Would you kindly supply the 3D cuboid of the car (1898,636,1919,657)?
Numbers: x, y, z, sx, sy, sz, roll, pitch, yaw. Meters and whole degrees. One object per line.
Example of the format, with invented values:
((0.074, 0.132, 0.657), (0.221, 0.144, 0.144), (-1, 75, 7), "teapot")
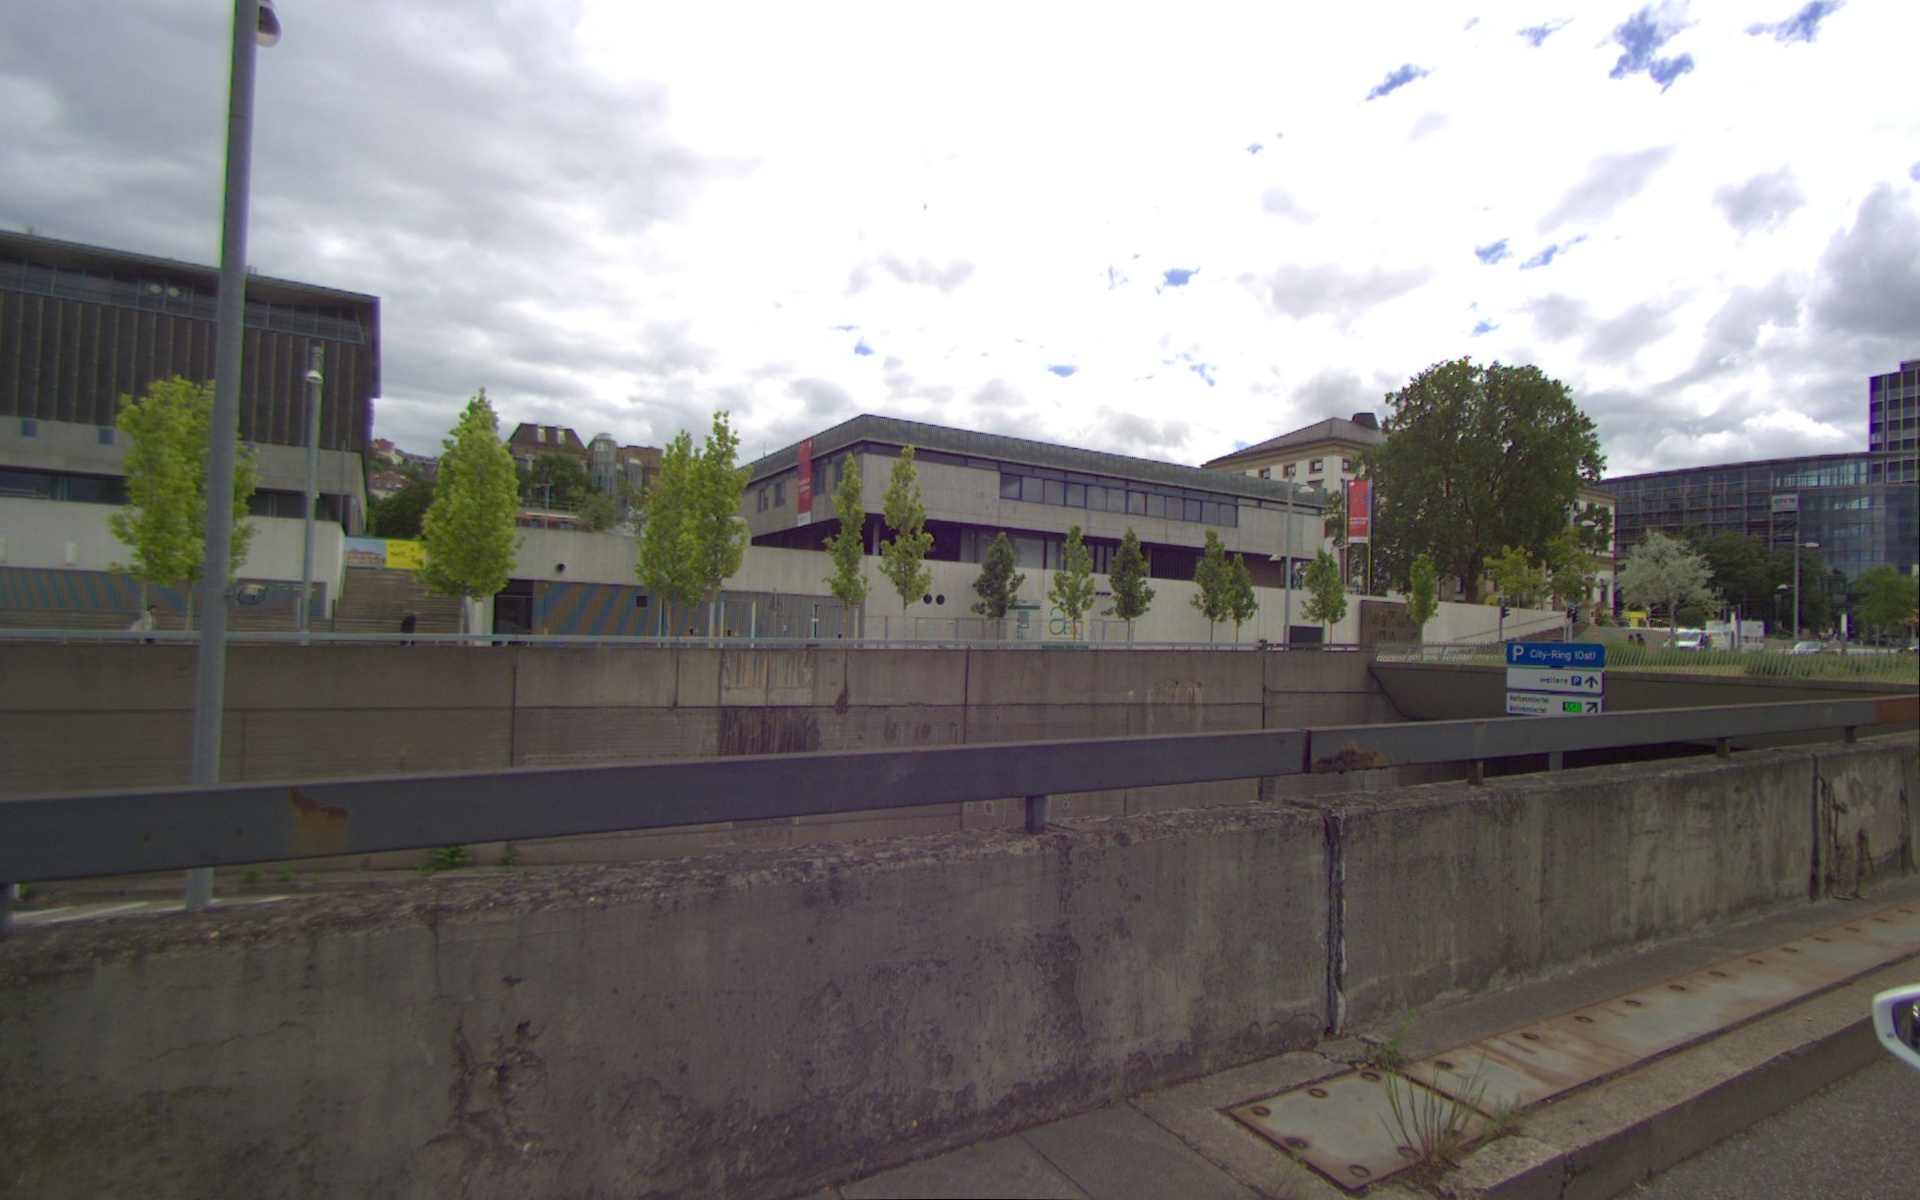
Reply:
((72.160, 3.557, 75.376), (3.556, 1.514, 1.723), (3, 0, -32), "car")

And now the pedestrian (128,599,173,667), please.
((-24.579, 0.995, 30.495), (0.778, 2.040, 0.740), (0, -1, -7), "pedestrian")

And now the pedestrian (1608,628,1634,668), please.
((33.845, 2.439, 51.467), (0.820, 2.040, 0.793), (0, -1, 4), "pedestrian")

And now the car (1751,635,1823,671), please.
((51.417, 3.240, 62.438), (4.635, 2.040, 1.985), (0, 0, -30), "car")

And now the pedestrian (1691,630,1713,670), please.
((38.877, 2.621, 52.612), (0.623, 2.041, 0.724), (-4, 2, -37), "pedestrian")

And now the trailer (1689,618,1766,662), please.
((49.623, 2.558, 64.919), (5.443, 2.640, 2.028), (1, 1, -30), "trailer")

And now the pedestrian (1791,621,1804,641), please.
((84.766, 3.134, 101.688), (0.783, 2.040, 0.735), (0, -1, -29), "pedestrian")

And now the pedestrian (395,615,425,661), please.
((-20.203, 1.394, 36.904), (0.779, 1.664, 0.739), (0, -1, -11), "pedestrian")

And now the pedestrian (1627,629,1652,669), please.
((34.793, 2.490, 51.461), (0.827, 2.040, 0.786), (1, -1, -32), "pedestrian")

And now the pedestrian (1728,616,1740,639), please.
((68.511, 2.421, 88.864), (0.788, 2.040, 0.731), (4, -3, -44), "pedestrian")

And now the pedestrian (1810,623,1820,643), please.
((87.252, 3.329, 102.522), (0.730, 2.040, 0.916), (-1, -1, 41), "pedestrian")

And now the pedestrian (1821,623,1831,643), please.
((87.579, 3.338, 101.608), (0.730, 2.040, 0.916), (-1, -1, 41), "pedestrian")

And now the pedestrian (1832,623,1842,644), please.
((88.552, 3.395, 101.466), (0.730, 2.040, 0.916), (-1, -1, 41), "pedestrian")

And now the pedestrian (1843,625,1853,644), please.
((96.269, 3.729, 108.885), (0.731, 2.040, 0.788), (-1, -1, 45), "pedestrian")

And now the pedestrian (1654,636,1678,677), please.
((35.878, 2.871, 51.077), (0.846, 2.040, 0.629), (-1, -1, 20), "pedestrian")

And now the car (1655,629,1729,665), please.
((45.401, 2.885, 62.262), (4.635, 2.040, 1.985), (0, 0, -30), "car")
